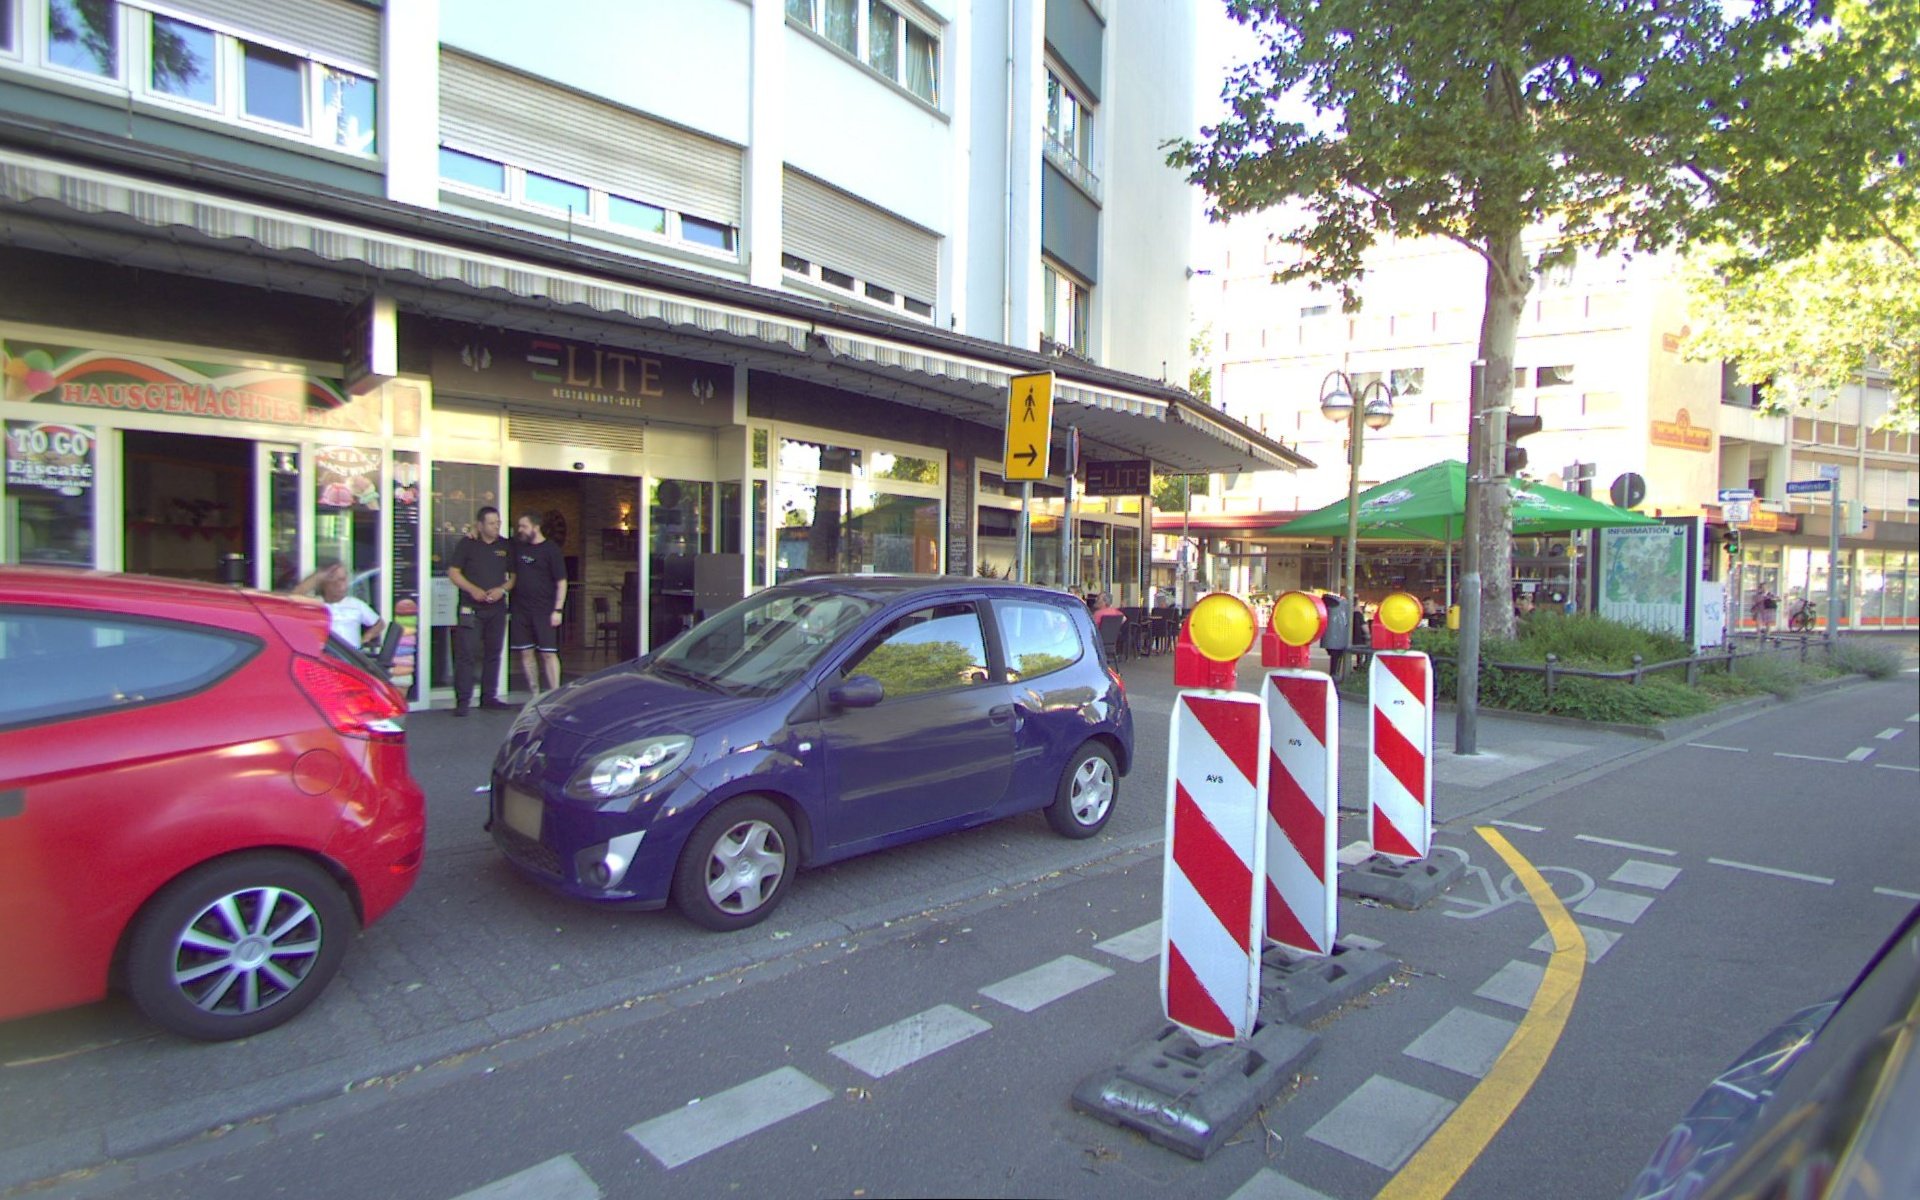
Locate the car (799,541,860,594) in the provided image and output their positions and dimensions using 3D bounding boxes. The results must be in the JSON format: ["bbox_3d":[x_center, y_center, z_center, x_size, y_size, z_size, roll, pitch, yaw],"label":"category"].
[{"bbox_3d":[-4.602,-1.135,36.093,1.960,1.771,4.004,1,1,-5],"label":"car"}]

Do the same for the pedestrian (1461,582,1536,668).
[{"bbox_3d":[8.414,0.372,15.822,0.752,1.301,0.721,0,1,-27],"label":"pedestrian"}]

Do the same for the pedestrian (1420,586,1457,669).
[{"bbox_3d":[7.451,0.419,15.771,0.427,1.234,0.465,3,2,20],"label":"pedestrian"}]

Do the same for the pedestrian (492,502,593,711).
[{"bbox_3d":[-3.730,0.040,9.033,0.635,1.780,0.612,1,3,-39],"label":"pedestrian"}]

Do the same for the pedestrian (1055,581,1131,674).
[{"bbox_3d":[1.852,0.367,14.027,0.838,1.213,0.644,3,1,27],"label":"pedestrian"}]

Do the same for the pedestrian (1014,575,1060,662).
[{"bbox_3d":[1.161,0.273,15.278,0.541,1.259,0.521,2,1,-7],"label":"pedestrian"}]

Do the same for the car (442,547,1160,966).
[{"bbox_3d":[-0.647,0.532,5.498,3.545,1.484,1.621,0,4,-44],"label":"car"}]

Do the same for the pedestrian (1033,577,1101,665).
[{"bbox_3d":[1.582,0.297,14.918,0.664,1.233,0.706,3,1,43],"label":"pedestrian"}]

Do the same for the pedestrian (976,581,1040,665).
[{"bbox_3d":[0.698,0.320,14.656,0.710,1.144,0.645,3,1,25],"label":"pedestrian"}]

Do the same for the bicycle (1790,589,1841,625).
[{"bbox_3d":[28.121,0.217,33.254,1.933,1.157,0.530,0,1,-26],"label":"bicycle"}]

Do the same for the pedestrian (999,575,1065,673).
[{"bbox_3d":[0.988,0.314,13.752,0.644,1.267,0.711,3,1,25],"label":"pedestrian"}]

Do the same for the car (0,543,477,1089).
[{"bbox_3d":[-3.648,0.564,2.852,1.667,1.446,3.786,5,4,44],"label":"car"}]

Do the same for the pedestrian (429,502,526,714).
[{"bbox_3d":[-4.180,0.052,8.755,0.587,1.756,0.589,1,3,-40],"label":"pedestrian"}]

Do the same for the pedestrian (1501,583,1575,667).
[{"bbox_3d":[9.264,0.382,16.224,0.753,1.301,0.720,0,1,-28],"label":"pedestrian"}]

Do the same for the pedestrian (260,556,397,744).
[{"bbox_3d":[-4.828,0.320,7.712,0.765,1.247,1.207,-1,5,-38],"label":"pedestrian"}]

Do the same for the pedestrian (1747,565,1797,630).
[{"bbox_3d":[22.719,-0.073,28.315,0.883,1.779,0.751,0,1,-24],"label":"pedestrian"}]

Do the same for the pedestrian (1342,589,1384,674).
[{"bbox_3d":[5.938,0.452,14.915,0.460,1.235,0.432,1,0,5],"label":"pedestrian"}]
